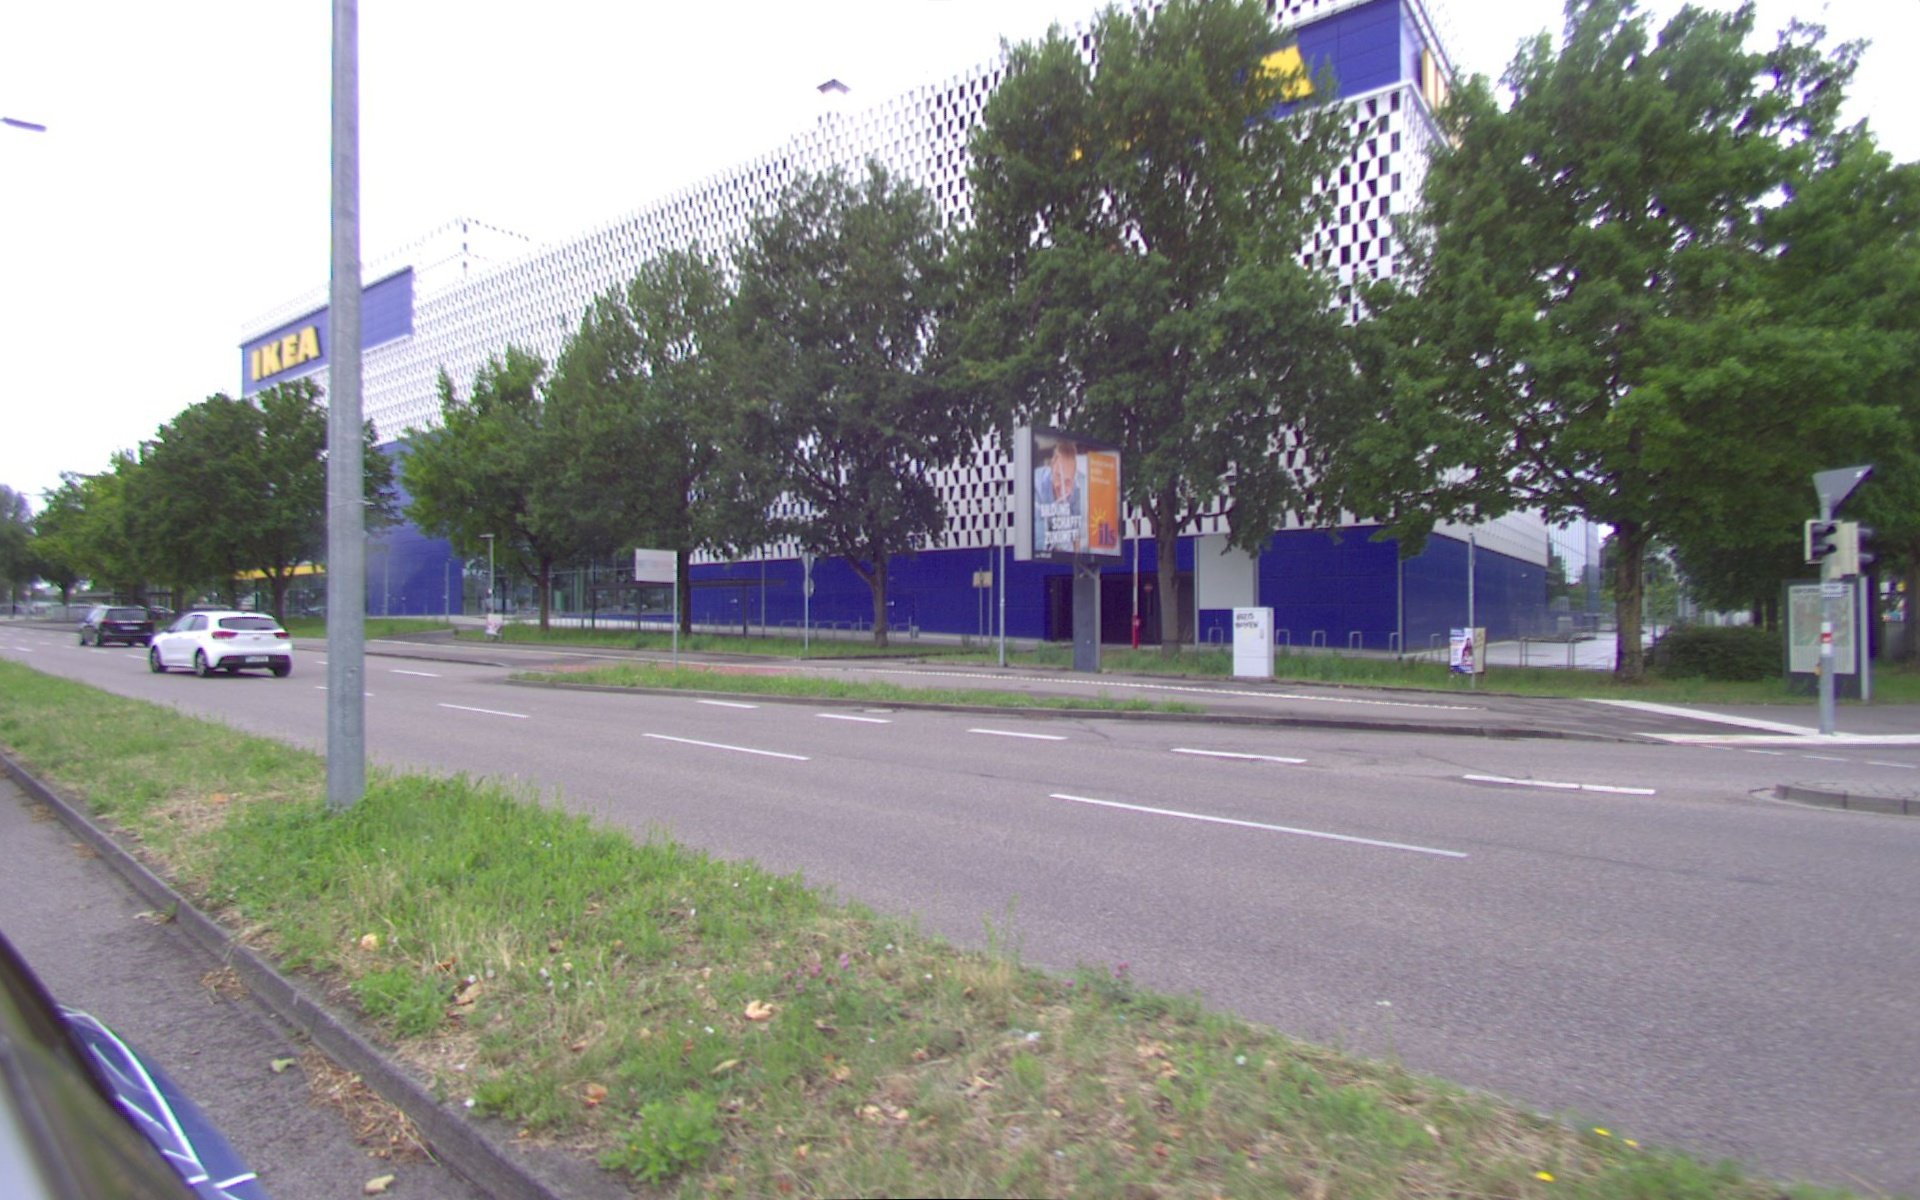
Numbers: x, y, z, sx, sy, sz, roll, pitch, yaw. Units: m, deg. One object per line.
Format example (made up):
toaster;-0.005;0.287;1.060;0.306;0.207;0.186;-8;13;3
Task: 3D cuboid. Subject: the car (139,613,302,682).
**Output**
car;-17.016;1.047;23.247;3.922;1.463;1.767;0;-2;34

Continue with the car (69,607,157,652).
car;-33.995;1.163;40.594;4.356;1.668;1.824;0;-3;38

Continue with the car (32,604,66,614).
car;-166.622;1.641;185.110;1.741;1.837;4.240;0;1;37

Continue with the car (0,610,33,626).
car;-124.199;2.321;132.495;1.997;2.029;3.949;0;1;38

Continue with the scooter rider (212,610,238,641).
scooter rider;-41.097;1.421;56.580;1.033;1.733;0.791;0;0;24

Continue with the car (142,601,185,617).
car;-91.484;1.015;116.268;1.741;1.652;3.523;0;1;37

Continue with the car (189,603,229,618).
car;-102.672;1.429;138.433;1.994;1.829;3.956;0;1;32

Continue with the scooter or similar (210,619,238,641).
scooter or similar;-41.137;1.680;56.565;1.417;1.134;0.585;0;3;24

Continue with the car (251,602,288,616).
car;-98.585;1.287;144.569;1.994;1.829;3.956;0;1;32
